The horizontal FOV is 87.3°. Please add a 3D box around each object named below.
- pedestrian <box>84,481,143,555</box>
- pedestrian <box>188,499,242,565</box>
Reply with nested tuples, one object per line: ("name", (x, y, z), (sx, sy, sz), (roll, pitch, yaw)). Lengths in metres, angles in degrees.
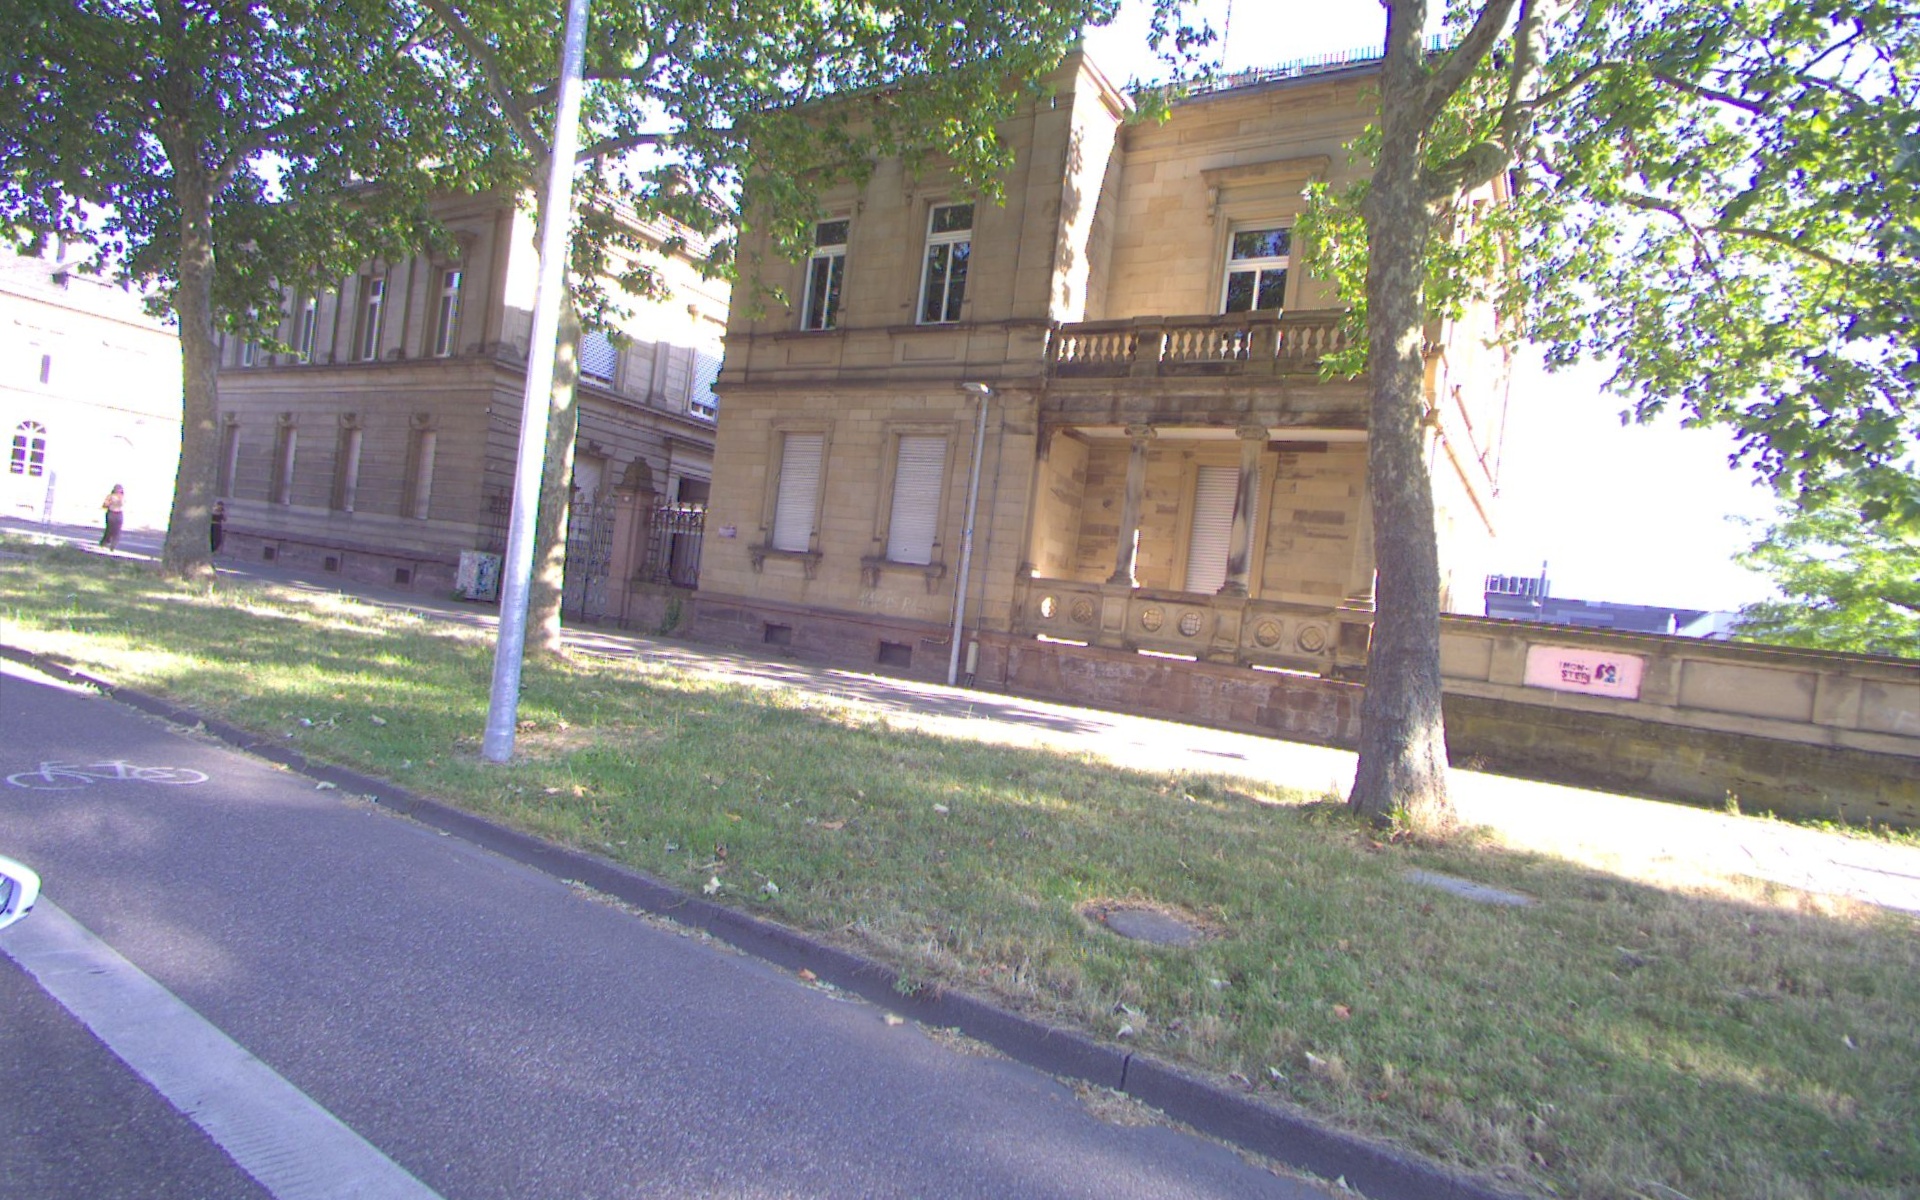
("pedestrian", (-21.477, -2.069, 25.517), (1.025, 1.731, 0.770), (7, 1, 34))
("pedestrian", (-20.115, -1.826, 27.165), (0.970, 1.626, 0.770), (7, 1, 34))
